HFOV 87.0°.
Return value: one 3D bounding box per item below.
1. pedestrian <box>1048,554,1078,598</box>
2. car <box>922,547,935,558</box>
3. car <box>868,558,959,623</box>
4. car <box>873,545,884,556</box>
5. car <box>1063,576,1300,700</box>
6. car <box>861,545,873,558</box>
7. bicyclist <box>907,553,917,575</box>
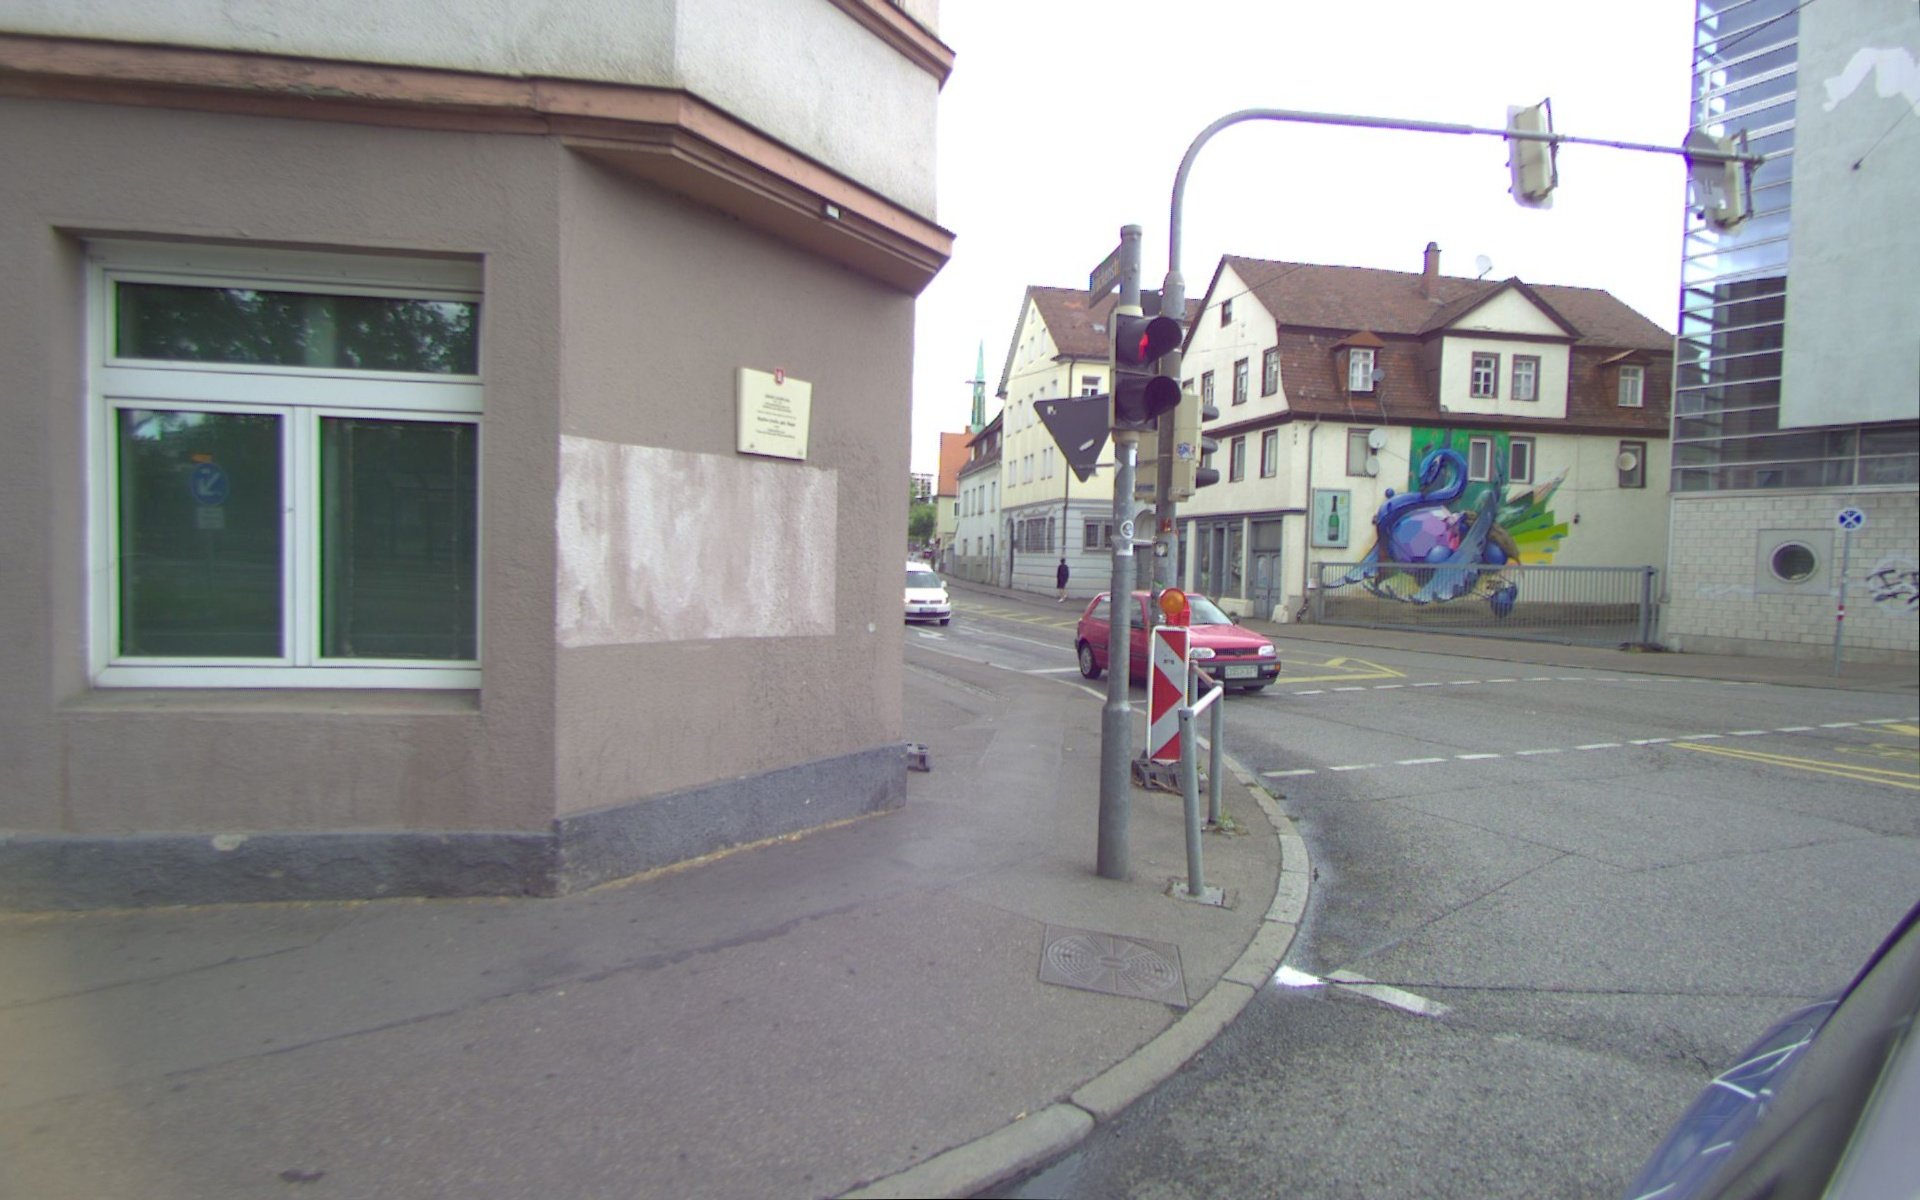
[{"bbox_3d":[4.563,-1.051,44.865,1.035,1.910,1.094,0,1,-14],"label":"pedestrian"},{"bbox_3d":[-5.650,-8.461,180.439,2.019,2.038,4.005,1,2,-5],"label":"car"},{"bbox_3d":[-1.514,-0.363,31.012,1.767,1.813,4.359,1,2,-17],"label":"car"},{"bbox_3d":[-14.997,-9.043,185.618,1.960,2.038,4.005,1,2,-5],"label":"car"},{"bbox_3d":[3.154,0.444,15.275,1.767,1.484,4.010,-2,3,-16],"label":"car"},{"bbox_3d":[-15.063,-7.808,164.161,1.960,2.038,4.005,1,2,-5],"label":"car"},{"bbox_3d":[-3.957,-2.956,82.884,0.712,1.722,0.811,1,2,2],"label":"bicyclist"}]
